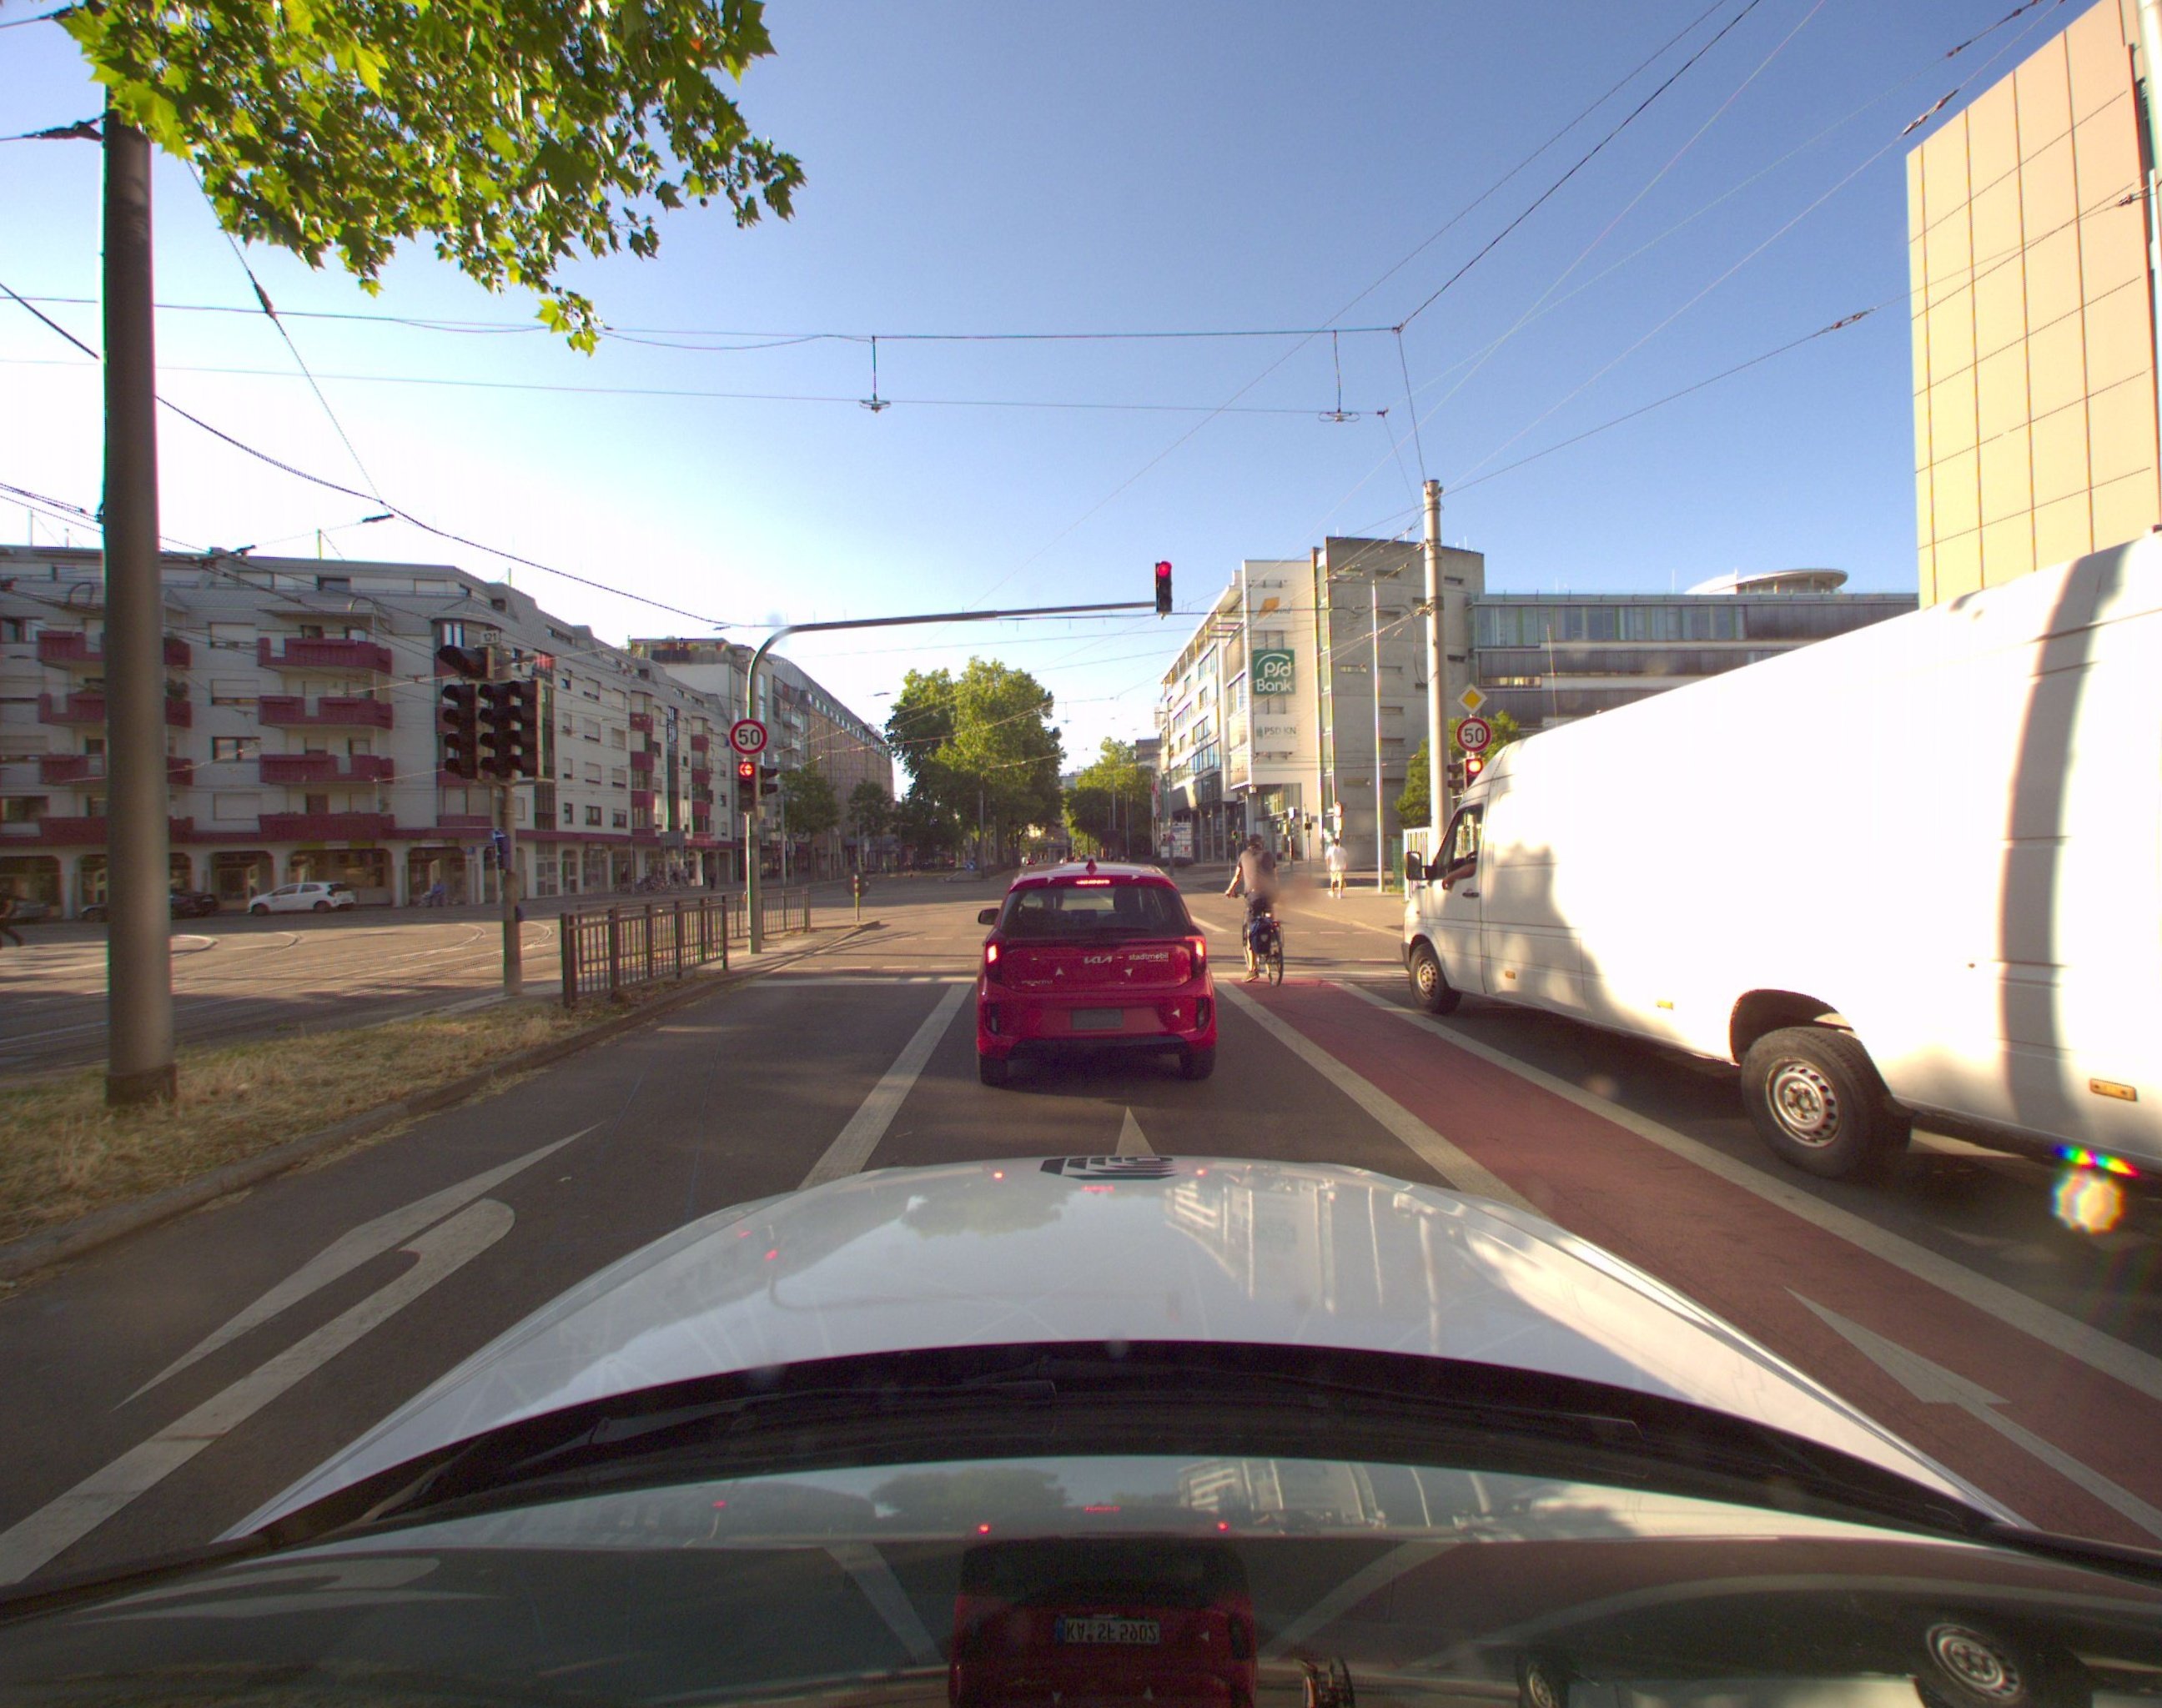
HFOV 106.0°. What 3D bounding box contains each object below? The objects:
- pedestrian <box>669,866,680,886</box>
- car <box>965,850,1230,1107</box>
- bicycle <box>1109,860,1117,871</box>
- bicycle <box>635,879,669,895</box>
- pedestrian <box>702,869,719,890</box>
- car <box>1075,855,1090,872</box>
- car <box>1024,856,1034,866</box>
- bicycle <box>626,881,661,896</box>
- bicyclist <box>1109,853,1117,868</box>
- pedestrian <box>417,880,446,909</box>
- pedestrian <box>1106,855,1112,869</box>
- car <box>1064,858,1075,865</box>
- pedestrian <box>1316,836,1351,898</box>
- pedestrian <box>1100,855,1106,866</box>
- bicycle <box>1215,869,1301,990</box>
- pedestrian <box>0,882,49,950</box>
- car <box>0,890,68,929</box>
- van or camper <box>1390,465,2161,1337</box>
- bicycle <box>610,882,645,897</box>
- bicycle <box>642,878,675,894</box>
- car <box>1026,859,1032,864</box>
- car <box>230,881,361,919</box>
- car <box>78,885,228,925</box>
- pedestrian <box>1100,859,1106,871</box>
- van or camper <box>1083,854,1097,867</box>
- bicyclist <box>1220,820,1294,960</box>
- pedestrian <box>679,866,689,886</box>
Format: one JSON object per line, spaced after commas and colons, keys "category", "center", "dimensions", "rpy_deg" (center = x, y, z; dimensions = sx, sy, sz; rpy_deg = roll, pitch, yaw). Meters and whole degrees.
{"category": "pedestrian", "center": [-31.671, 1.731, 63.473], "dimensions": [0.533, 1.494, 0.586], "rpy_deg": [-2, 0, -6]}
{"category": "car", "center": [0.033, 0.764, 6.712], "dimensions": [1.609, 1.535, 3.408], "rpy_deg": [-1, 0, -3]}
{"category": "bicycle", "center": [3.550, 1.233, 90.446], "dimensions": [0.694, 1.098, 1.749], "rpy_deg": [-5, 0, -2]}
{"category": "bicycle", "center": [-27.794, 2.133, 52.822], "dimensions": [1.840, 0.985, 0.552], "rpy_deg": [-2, 0, -6]}
{"category": "pedestrian", "center": [-27.521, 1.880, 60.444], "dimensions": [1.035, 1.544, 0.699], "rpy_deg": [-2, 0, 34]}
{"category": "car", "center": [0.178, 1.075, 93.832], "dimensions": [1.631, 1.800, 3.328], "rpy_deg": [-2, 0, -1]}
{"category": "car", "center": [-11.176, 1.566, 175.993], "dimensions": [1.991, 2.013, 3.992], "rpy_deg": [-2, 0, -6]}
{"category": "bicycle", "center": [-27.701, 2.164, 51.553], "dimensions": [1.837, 0.854, 0.553], "rpy_deg": [-2, 0, -1]}
{"category": "bicyclist", "center": [3.512, 0.759, 90.395], "dimensions": [0.720, 1.603, 1.087], "rpy_deg": [-4, -1, -3]}
{"category": "pedestrian", "center": [-32.574, 2.039, 40.856], "dimensions": [0.857, 1.384, 0.833], "rpy_deg": [-2, 0, -14]}
{"category": "pedestrian", "center": [3.313, 0.952, 97.579], "dimensions": [0.644, 1.680, 0.651], "rpy_deg": [-2, 0, -1]}
{"category": "car", "center": [-2.436, 1.515, 169.340], "dimensions": [1.776, 1.535, 3.503], "rpy_deg": [-1, 0, -8]}
{"category": "pedestrian", "center": [7.698, 0.386, 24.894], "dimensions": [0.773, 1.823, 1.218], "rpy_deg": [-2, 0, 7]}
{"category": "pedestrian", "center": [3.553, 1.088, 129.252], "dimensions": [0.888, 1.753, 0.841], "rpy_deg": [-2, 0, 1]}
{"category": "bicycle", "center": [2.118, 0.851, 9.988], "dimensions": [0.647, 1.281, 1.967], "rpy_deg": [-2, 0, 2]}
{"category": "pedestrian", "center": [-28.378, 1.635, 21.576], "dimensions": [0.733, 1.752, 1.017], "rpy_deg": [-2, 0, -6]}
{"category": "car", "center": [-48.599, 2.518, 35.948], "dimensions": [4.572, 1.555, 1.992], "rpy_deg": [-2, 0, -12]}
{"category": "van or camper", "center": [4.291, 0.146, 5.397], "dimensions": [1.963, 2.716, 6.301], "rpy_deg": [-1, 0, -1]}
{"category": "bicycle", "center": [-28.262, 2.193, 50.791], "dimensions": [1.837, 0.854, 0.553], "rpy_deg": [-2, 0, -1]}
{"category": "bicycle", "center": [-27.708, 2.098, 53.436], "dimensions": [1.840, 0.985, 0.552], "rpy_deg": [-2, 0, -6]}
{"category": "car", "center": [-16.319, 2.295, 256.523], "dimensions": [1.776, 1.535, 3.403], "rpy_deg": [-1, 0, -8]}
{"category": "car", "center": [-37.168, 2.153, 38.650], "dimensions": [3.989, 1.555, 1.992], "rpy_deg": [-2, 0, -12]}
{"category": "car", "center": [-42.424, 2.298, 37.348], "dimensions": [4.112, 1.555, 1.992], "rpy_deg": [-2, 0, -12]}
{"category": "pedestrian", "center": [3.059, 1.563, 114.991], "dimensions": [0.638, 1.579, 0.725], "rpy_deg": [-5, 0, 6]}
{"category": "van or camper", "center": [1.456, 1.049, 132.474], "dimensions": [1.988, 1.989, 4.741], "rpy_deg": [-1, 0, -2]}
{"category": "bicyclist", "center": [2.125, 0.417, 9.966], "dimensions": [0.647, 1.603, 1.089], "rpy_deg": [-2, 0, 2]}
{"category": "pedestrian", "center": [-30.998, 1.727, 63.567], "dimensions": [0.533, 1.494, 0.586], "rpy_deg": [-2, 0, -6]}
